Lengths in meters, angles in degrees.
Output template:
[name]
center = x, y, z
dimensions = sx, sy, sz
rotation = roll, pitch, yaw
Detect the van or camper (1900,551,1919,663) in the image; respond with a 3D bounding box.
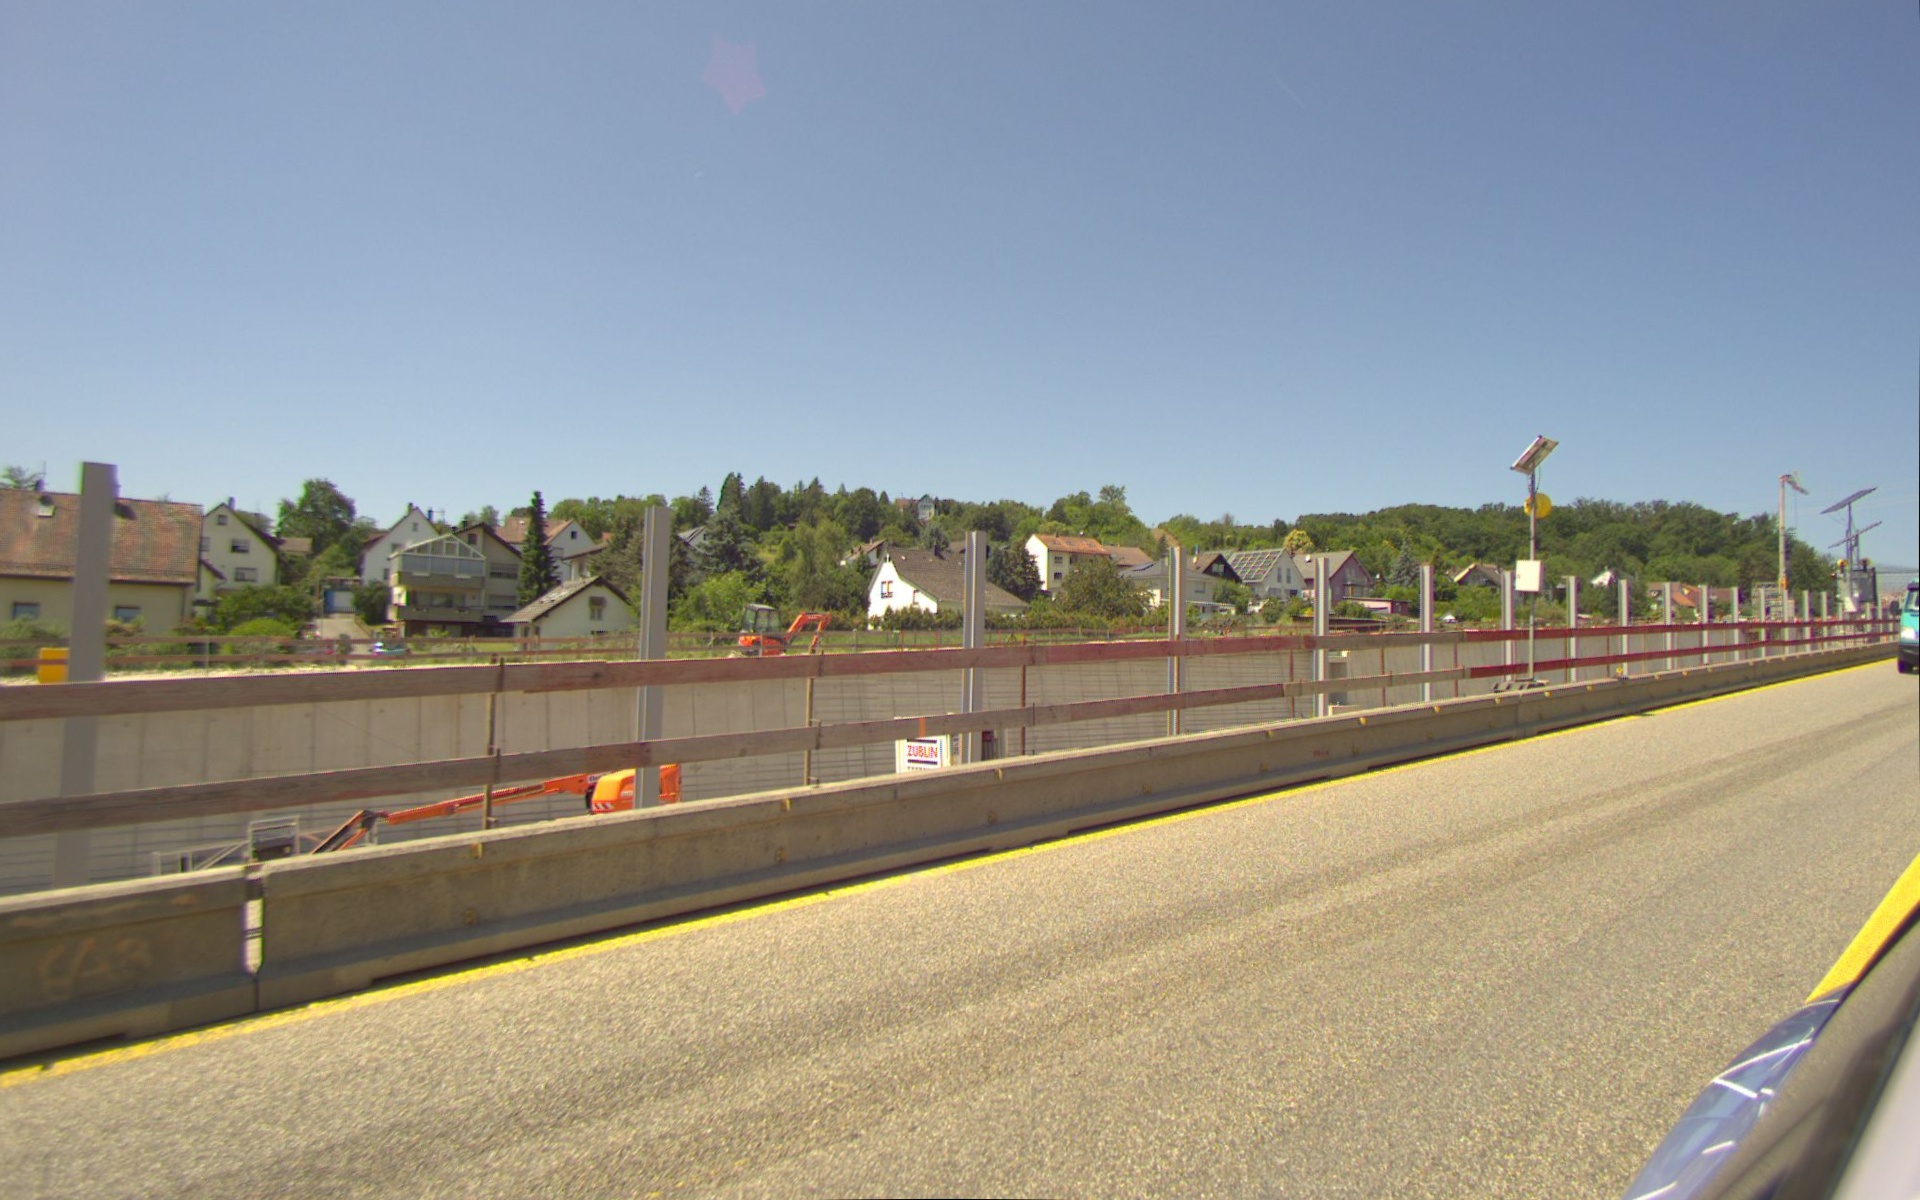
[van or camper]
center = 24.897, 0.210, 24.650
dimensions = 7.535, 2.505, 2.096
rotation = 1, -1, -41

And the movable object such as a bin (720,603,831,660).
[movable object such as a bin]
center = -7.635, 1.255, 42.070
dimensions = 4.077, 2.267, 1.997
rotation = 0, -1, -40
